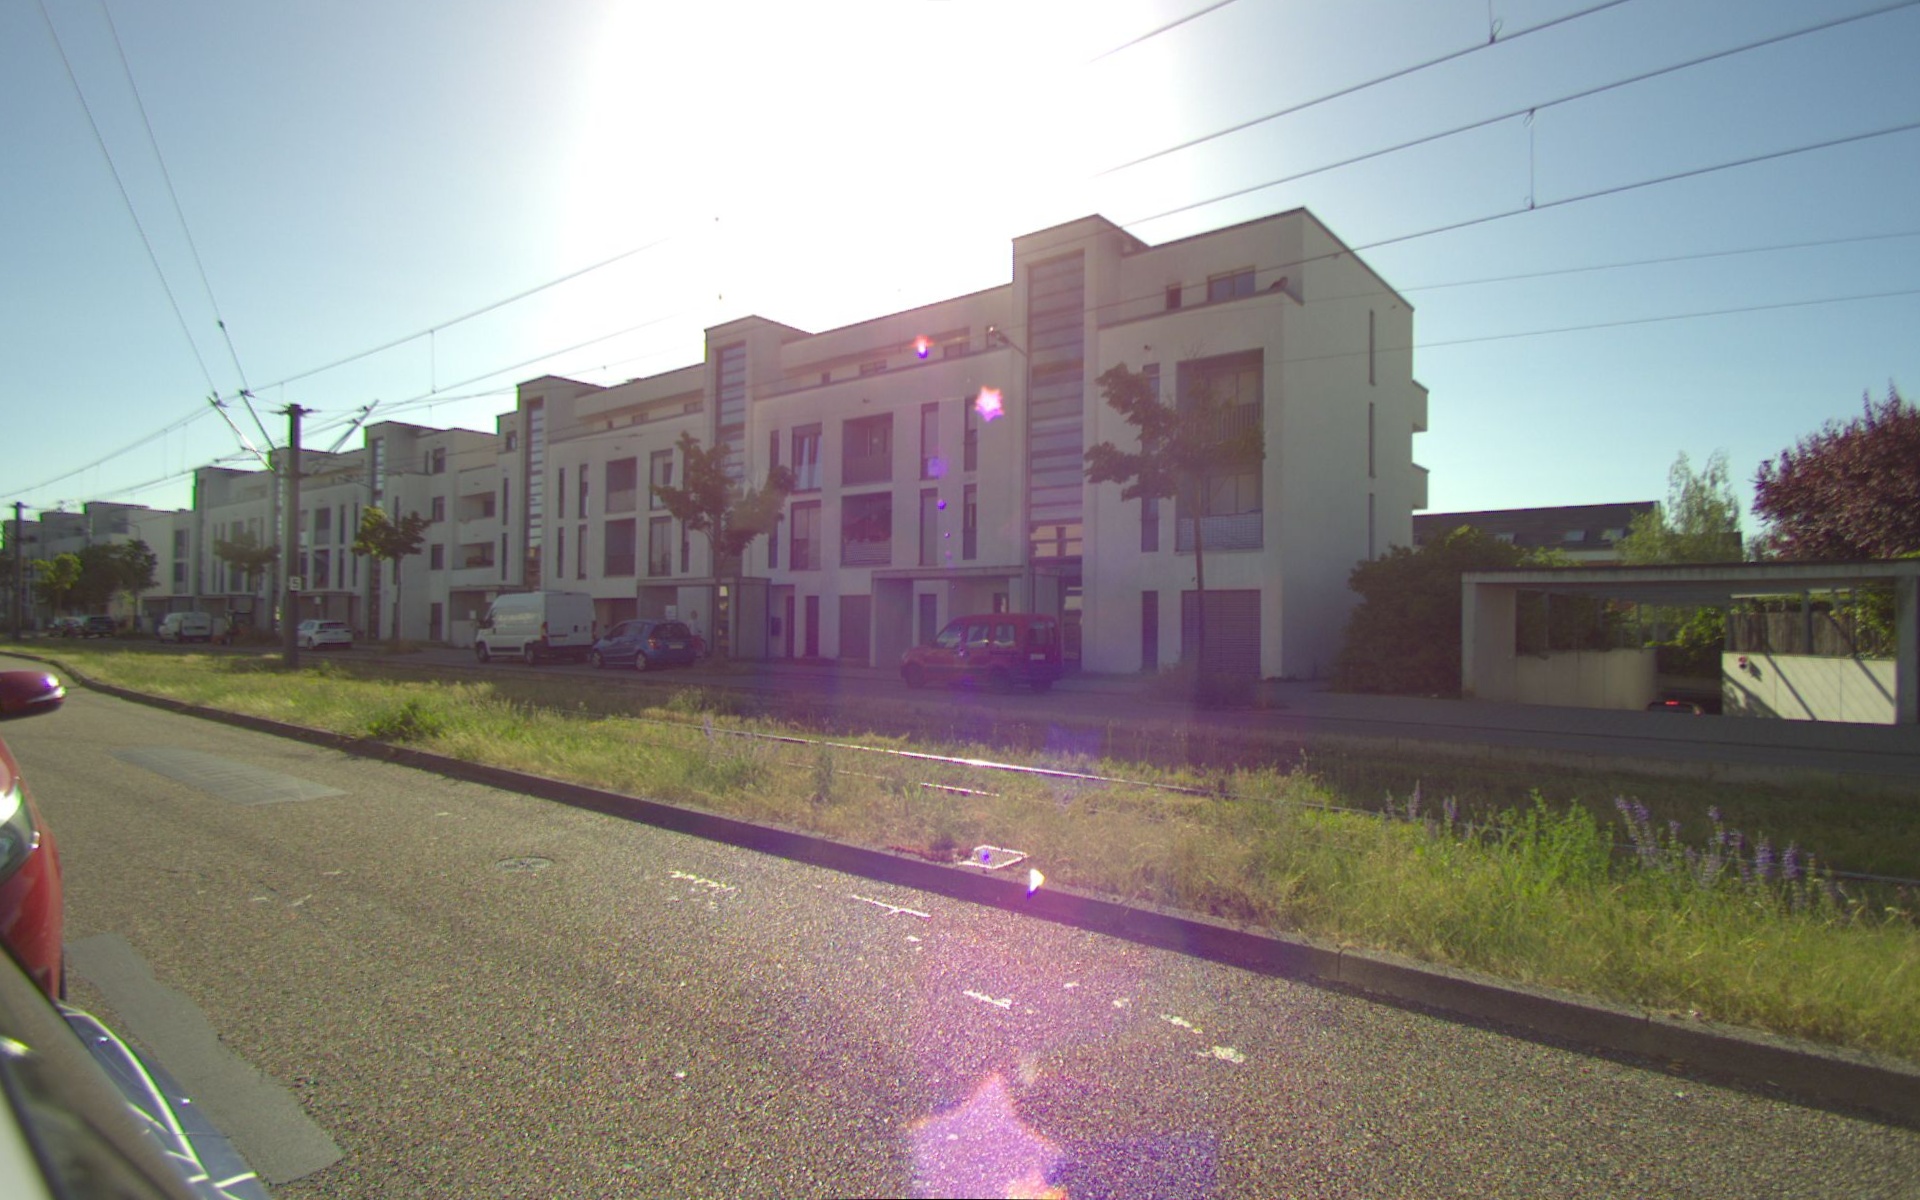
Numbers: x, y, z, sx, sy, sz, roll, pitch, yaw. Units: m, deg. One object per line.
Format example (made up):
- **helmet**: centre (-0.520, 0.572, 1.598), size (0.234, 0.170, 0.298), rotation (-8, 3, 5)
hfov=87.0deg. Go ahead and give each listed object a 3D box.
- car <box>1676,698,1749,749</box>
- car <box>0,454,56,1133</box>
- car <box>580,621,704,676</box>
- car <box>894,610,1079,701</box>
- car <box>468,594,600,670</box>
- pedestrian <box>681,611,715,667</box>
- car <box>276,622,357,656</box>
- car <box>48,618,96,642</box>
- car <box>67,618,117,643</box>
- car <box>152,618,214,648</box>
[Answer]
- **car**: centre (22.463, 3.702, 30.172), size (1.575, 1.337, 3.948), rotation (-1, -7, 39)
- **car**: centre (-4.865, 0.560, 3.657), size (4.505, 1.868, 1.850), rotation (-1, 0, 41)
- **car**: centre (-9.995, 1.459, 31.746), size (3.833, 1.556, 1.973), rotation (-1, 0, 40)
- **car**: centre (0.543, 1.178, 23.025), size (3.895, 1.842, 1.972), rotation (-1, 0, 43)
- **car**: centre (-15.190, 1.086, 35.951), size (5.193, 2.491, 2.197), rotation (-1, 0, 40)
- **pedestrian**: centre (-8.743, 1.293, 33.785), size (0.785, 1.836, 0.766), rotation (-1, 0, 41)
- **car**: centre (-31.130, 1.851, 48.906), size (4.277, 1.517, 1.900), rotation (-1, 0, 37)
- **car**: centre (-67.516, 2.270, 76.937), size (4.277, 1.693, 1.900), rotation (-1, 0, 37)
- **car**: centre (-62.971, 2.179, 73.413), size (4.277, 1.693, 1.900), rotation (-1, 0, 37)
- **car**: centre (-47.350, 1.975, 61.632), size (4.277, 1.693, 1.900), rotation (-1, 0, 37)
